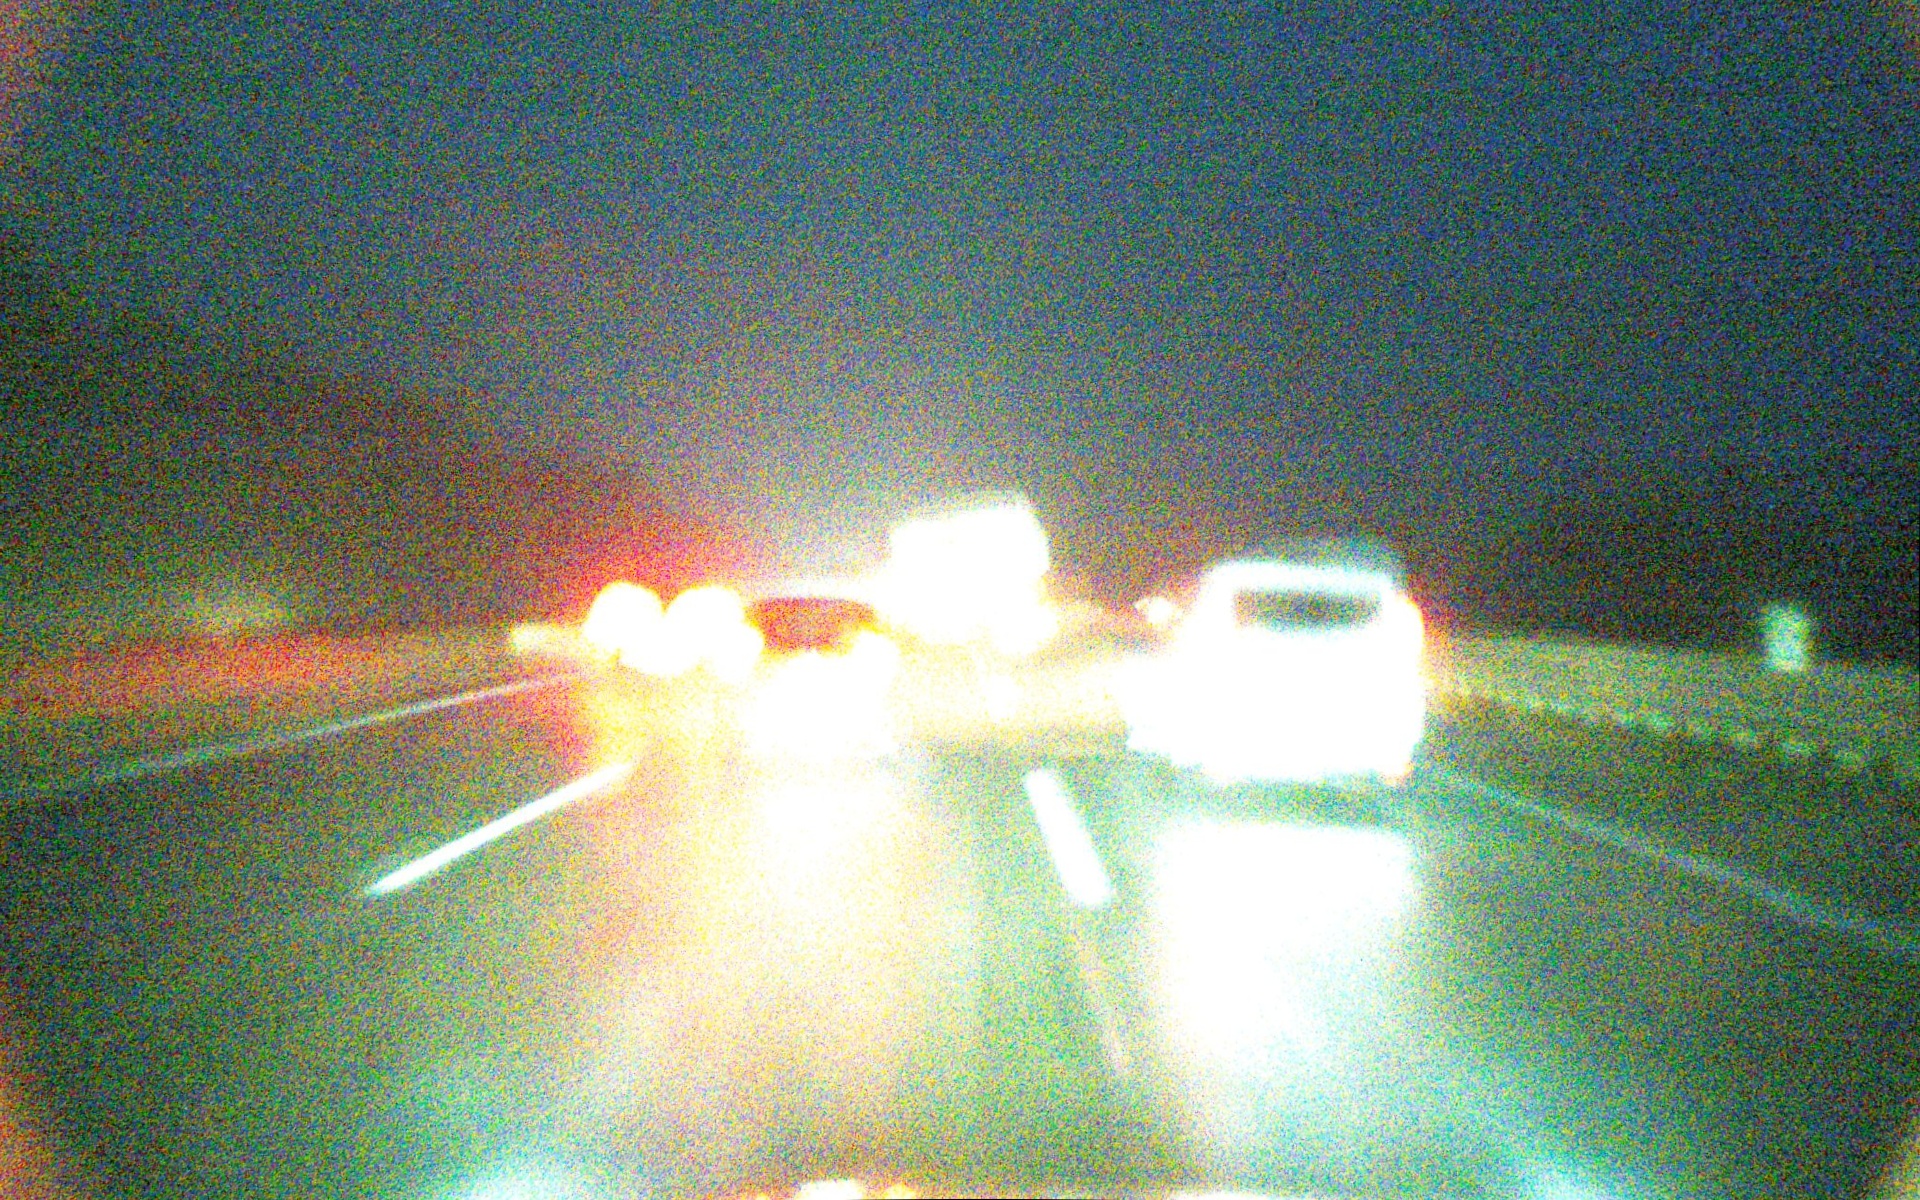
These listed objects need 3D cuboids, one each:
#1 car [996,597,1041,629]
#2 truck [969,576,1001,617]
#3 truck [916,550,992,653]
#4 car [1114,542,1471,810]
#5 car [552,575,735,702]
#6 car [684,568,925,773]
[{"bbox_3d":[2.668,0.575,76.184,1.851,1.378,3.999,2,0,-1],"label":"car"},{"bbox_3d":[3.277,-0.378,219.124,3.746,5.000,11.603,-3,-1,-1],"label":"truck"},{"bbox_3d":[-0.390,0.130,99.397,4.083,5.641,13.071,-2,-1,-1],"label":"truck"},{"bbox_3d":[2.534,0.519,13.986,1.913,1.823,5.123,-1,0,-1],"label":"car"},{"bbox_3d":[-4.993,0.589,26.793,1.953,1.808,4.887,-2,-1,0],"label":"car"},{"bbox_3d":[-1.325,0.603,15.778,1.877,1.622,4.232,-2,-1,0],"label":"car"}]
